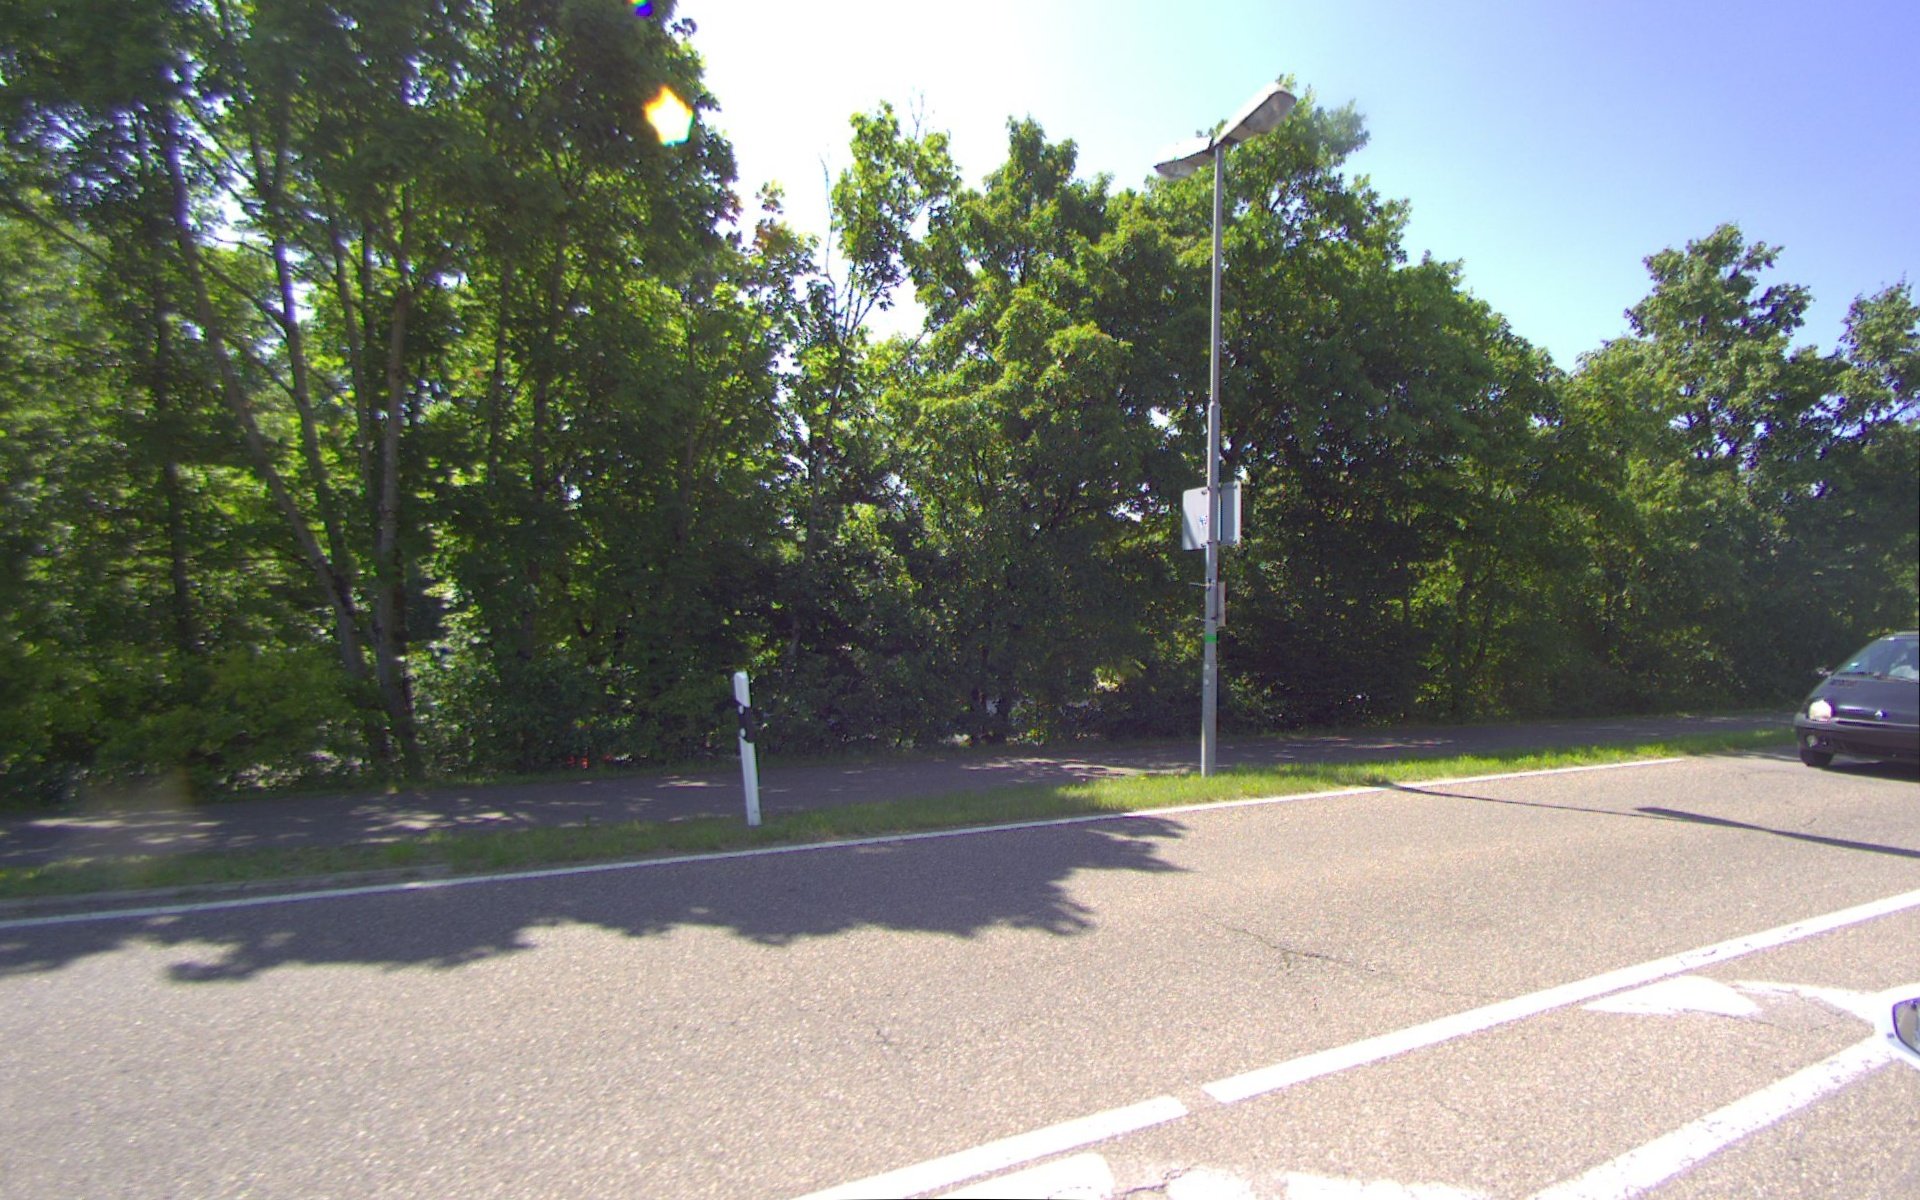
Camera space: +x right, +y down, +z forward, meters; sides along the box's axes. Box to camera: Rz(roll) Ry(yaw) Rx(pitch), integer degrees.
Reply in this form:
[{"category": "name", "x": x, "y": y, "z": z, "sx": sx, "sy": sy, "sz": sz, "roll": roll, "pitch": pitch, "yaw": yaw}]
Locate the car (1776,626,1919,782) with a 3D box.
[{"category": "car", "x": 10.403, "y": 1.016, "z": 10.573, "sx": 3.389, "sy": 1.423, "sz": 1.621, "roll": 0, "pitch": 0, "yaw": -28}]
